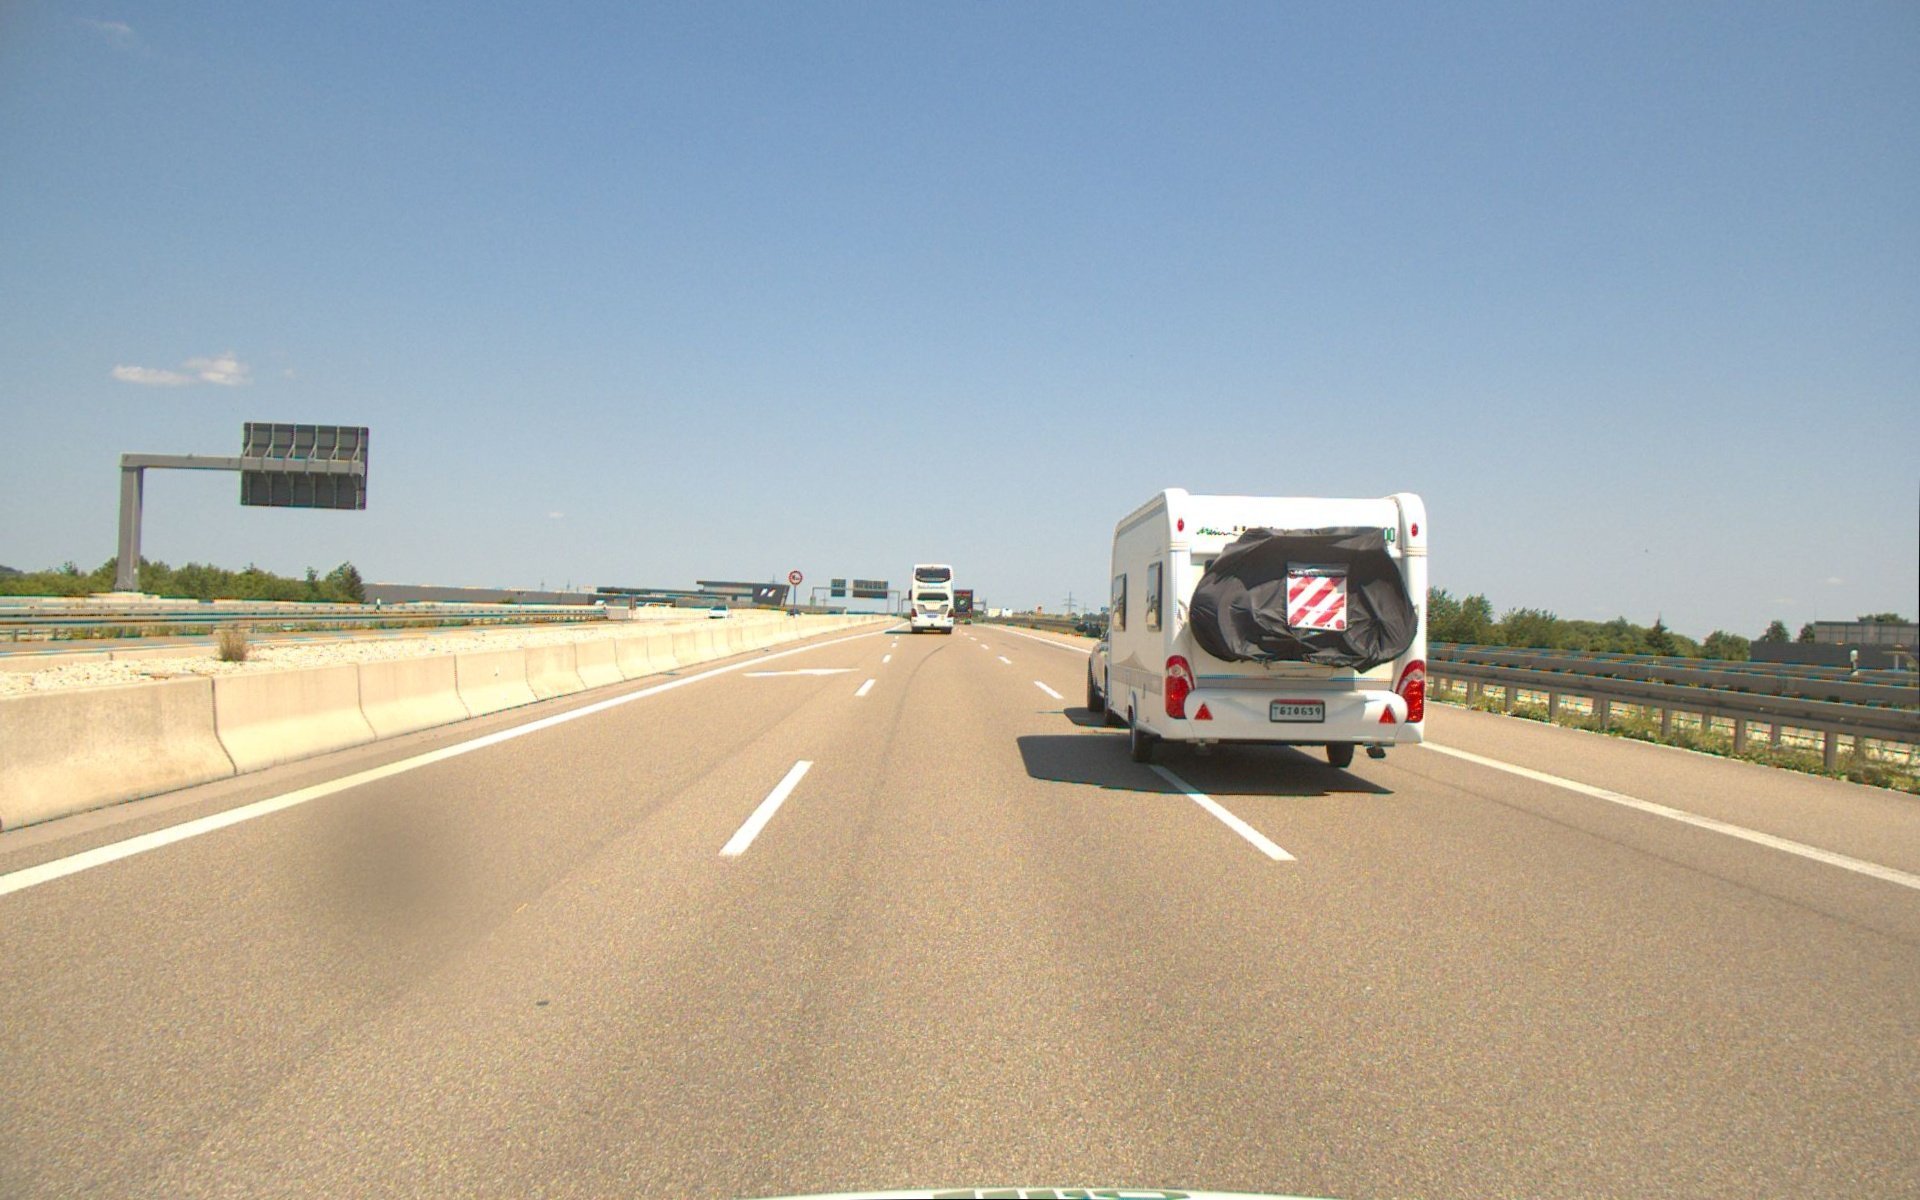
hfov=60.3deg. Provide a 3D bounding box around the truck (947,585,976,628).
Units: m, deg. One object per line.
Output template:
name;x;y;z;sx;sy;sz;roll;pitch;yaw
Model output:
truck;0.221;0.869;201.397;3.310;4.542;13.563;2;-3;0

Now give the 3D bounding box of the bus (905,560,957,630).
bus;-1.843;-0.303;101.354;2.920;4.044;9.100;1;0;-2

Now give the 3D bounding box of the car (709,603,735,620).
car;-21.359;1.024;148.748;1.773;1.460;4.440;1;0;-1

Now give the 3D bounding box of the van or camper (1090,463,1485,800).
van or camper;2.916;0.256;17.071;2.461;2.638;7.816;1;0;0

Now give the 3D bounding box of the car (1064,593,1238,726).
car;2.564;0.754;23.347;1.842;1.651;4.903;1;0;0

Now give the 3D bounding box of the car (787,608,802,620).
car;-22.583;1.868;225.802;1.697;1.563;4.547;1;0;-1
